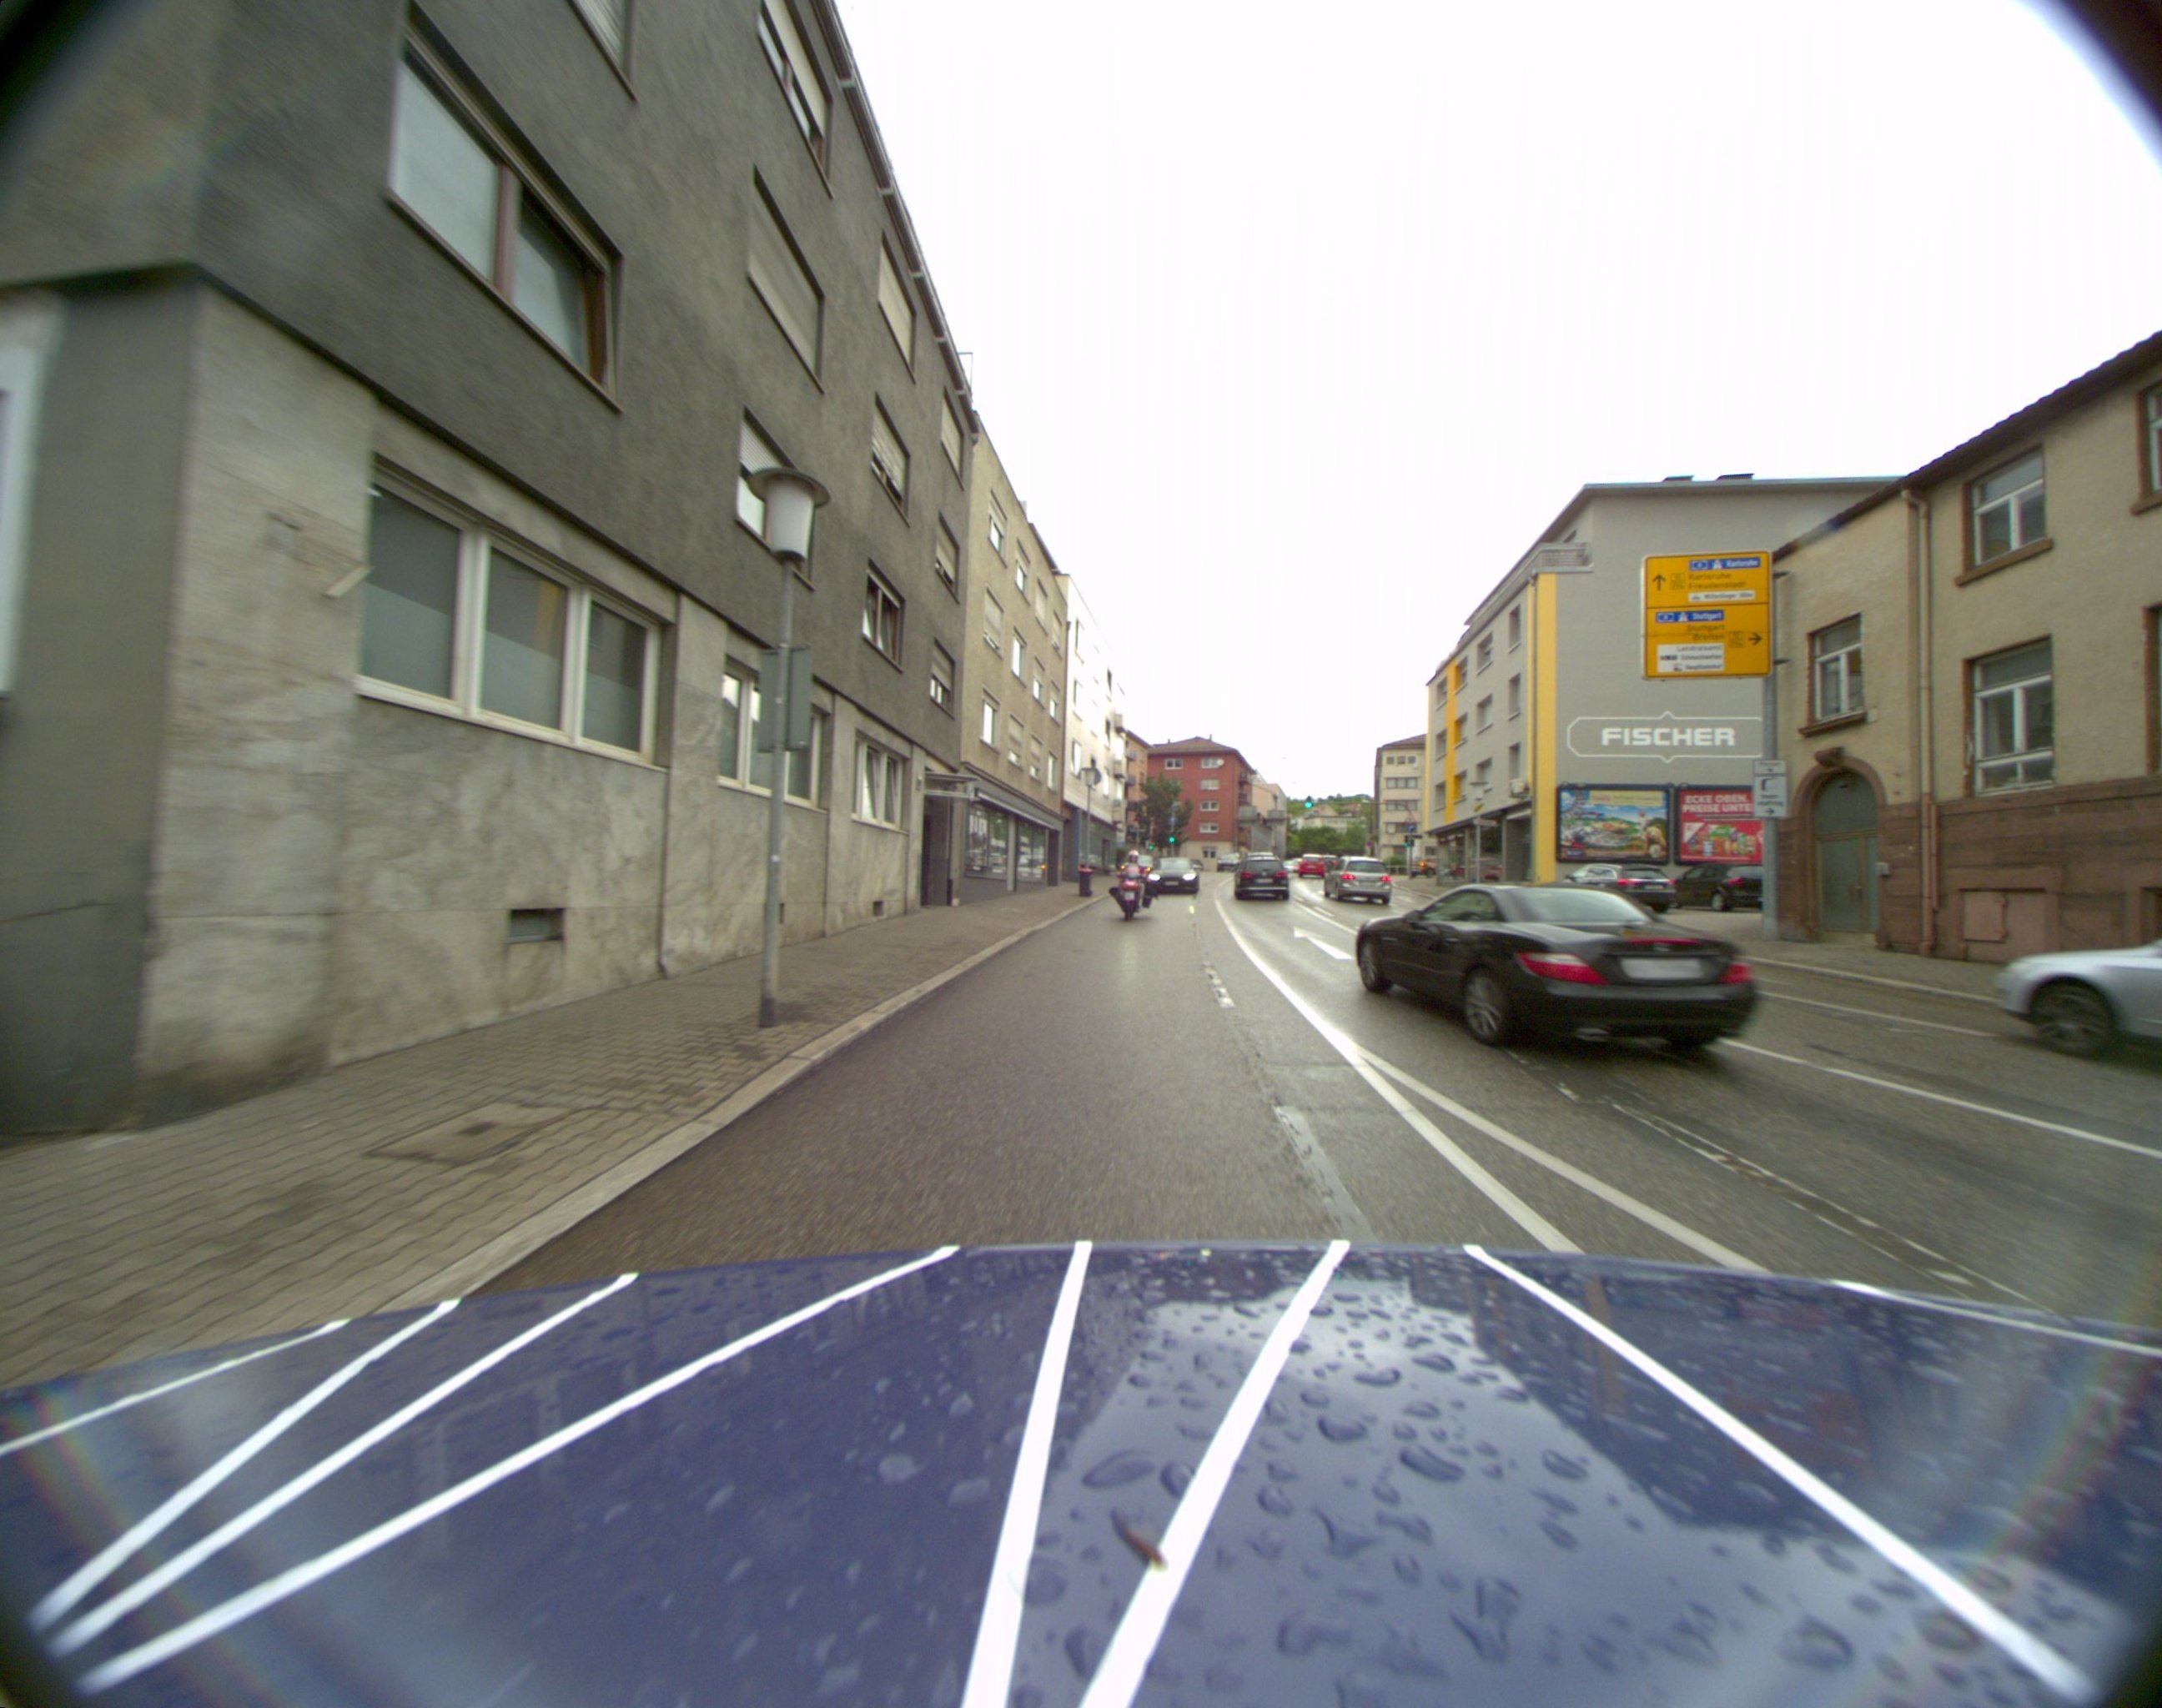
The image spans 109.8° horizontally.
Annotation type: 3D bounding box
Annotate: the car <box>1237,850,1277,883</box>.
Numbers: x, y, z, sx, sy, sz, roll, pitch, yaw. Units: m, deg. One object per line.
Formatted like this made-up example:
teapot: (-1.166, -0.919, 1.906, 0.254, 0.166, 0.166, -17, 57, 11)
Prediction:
car: (9.483, 0.623, 41.278, 1.810, 1.695, 4.564, 0, 1, 9)

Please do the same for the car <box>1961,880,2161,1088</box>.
car: (9.133, 1.100, 4.870, 1.748, 1.530, 4.644, 3, 1, 5)

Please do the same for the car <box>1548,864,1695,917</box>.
car: (16.989, 1.086, 24.200, 1.694, 1.446, 4.666, 0, 0, 6)

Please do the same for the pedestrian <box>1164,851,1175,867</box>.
pedestrian: (9.163, 0.503, 78.415, 0.760, 1.637, 0.708, 6, -3, -31)

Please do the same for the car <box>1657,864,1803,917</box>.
car: (20.202, 1.084, 23.872, 1.694, 1.455, 3.857, 0, 0, 9)

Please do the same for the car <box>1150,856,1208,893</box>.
car: (4.126, 0.826, 31.536, 1.872, 1.433, 4.005, 0, -1, 14)

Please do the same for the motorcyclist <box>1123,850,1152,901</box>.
motorcyclist: (1.392, 0.528, 18.868, 0.654, 1.217, 0.658, 1, 0, 1)

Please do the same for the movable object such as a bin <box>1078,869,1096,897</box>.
movable object such as a bin: (0.214, 1.024, 26.755, 0.525, 0.974, 0.538, 0, -3, 12)

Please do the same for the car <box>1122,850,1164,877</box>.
car: (3.711, 0.545, 44.914, 1.766, 1.384, 4.383, 3, 2, 13)

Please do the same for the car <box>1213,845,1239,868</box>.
car: (12.393, 0.256, 64.746, 1.791, 1.716, 4.008, 0, -4, 17)

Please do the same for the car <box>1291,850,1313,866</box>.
car: (22.332, 0.352, 76.742, 1.808, 1.512, 4.568, 1, 1, 21)

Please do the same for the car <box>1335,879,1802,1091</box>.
car: (4.041, 0.970, 7.280, 1.719, 1.310, 4.143, 1, 0, -2)

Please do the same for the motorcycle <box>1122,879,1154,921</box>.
motorcycle: (1.394, 1.108, 18.804, 0.637, 0.921, 2.365, -1, 0, 1)

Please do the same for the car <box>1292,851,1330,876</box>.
car: (15.759, 0.608, 52.300, 1.743, 1.507, 4.132, 3, 1, 7)

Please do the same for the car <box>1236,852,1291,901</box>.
car: (6.376, 0.710, 26.857, 1.726, 1.507, 4.372, 0, 1, 12)

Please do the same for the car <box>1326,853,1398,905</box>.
car: (9.867, 0.814, 26.994, 1.717, 1.577, 4.147, 3, 1, 12)

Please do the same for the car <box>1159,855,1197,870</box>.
car: (11.380, 0.994, 89.459, 3.989, 1.709, 1.997, 0, -1, 32)

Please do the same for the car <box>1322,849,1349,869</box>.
car: (21.035, 0.415, 62.866, 1.742, 1.507, 4.135, 3, 1, 14)

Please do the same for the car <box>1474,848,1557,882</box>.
car: (27.235, 0.708, 47.716, 3.996, 1.783, 1.862, -4, -2, 4)

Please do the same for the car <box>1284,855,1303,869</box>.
car: (25.731, 0.979, 92.129, 1.836, 1.545, 4.007, 0, -1, 21)

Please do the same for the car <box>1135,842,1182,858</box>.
car: (8.640, -0.447, 84.911, 4.783, 1.545, 1.854, 2, -1, 23)

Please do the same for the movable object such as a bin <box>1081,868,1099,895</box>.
movable object such as a bin: (0.329, 0.992, 27.342, 0.525, 0.944, 0.538, 0, -3, 12)
